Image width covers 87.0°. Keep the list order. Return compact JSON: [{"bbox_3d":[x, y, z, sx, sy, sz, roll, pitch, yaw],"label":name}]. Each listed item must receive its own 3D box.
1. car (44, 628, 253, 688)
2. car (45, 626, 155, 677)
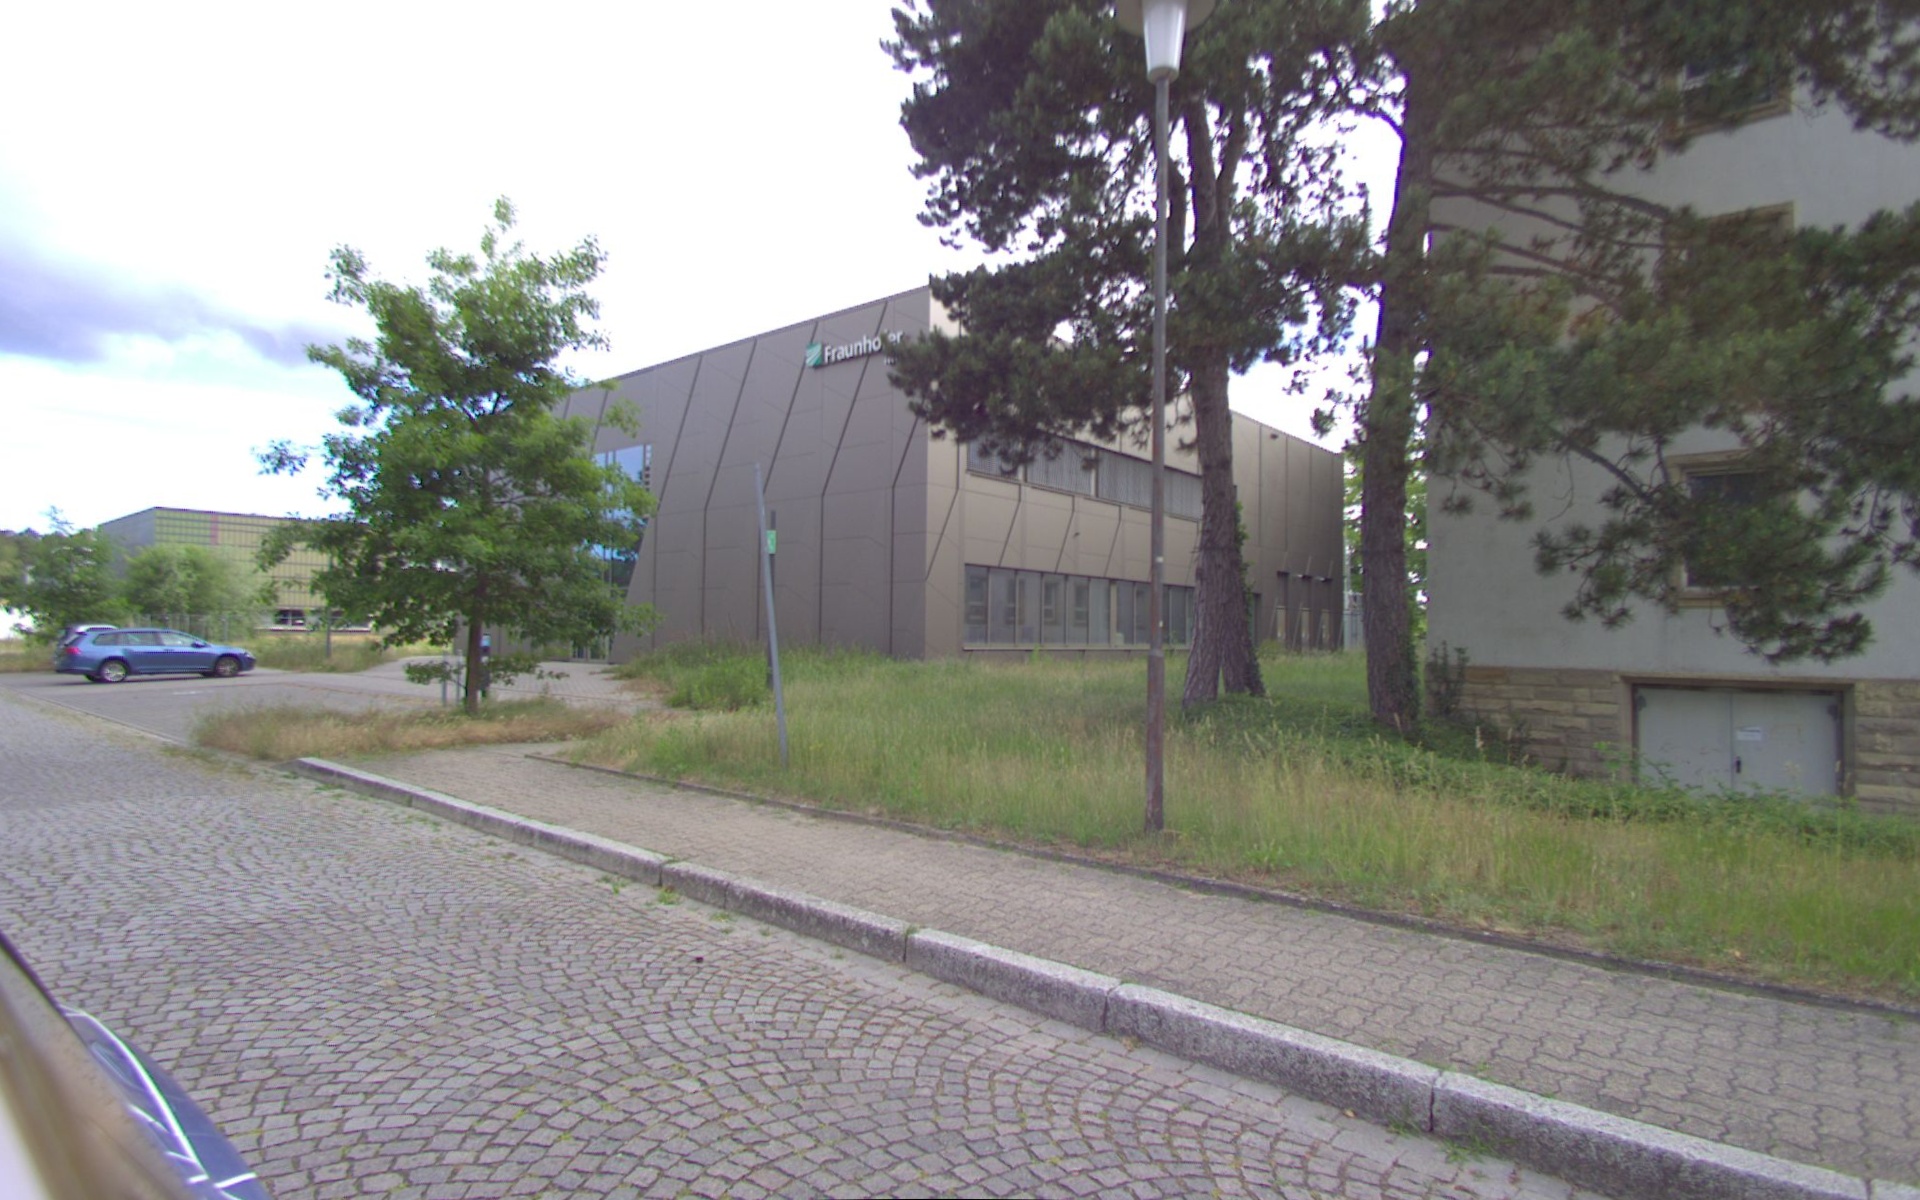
[{"bbox_3d":[-22.789,1.573,28.570,1.631,1.481,4.373,-1,-1,38],"label":"car"},{"bbox_3d":[-28.355,1.659,33.393,1.498,1.541,2.553,-1,-1,38],"label":"car"}]
